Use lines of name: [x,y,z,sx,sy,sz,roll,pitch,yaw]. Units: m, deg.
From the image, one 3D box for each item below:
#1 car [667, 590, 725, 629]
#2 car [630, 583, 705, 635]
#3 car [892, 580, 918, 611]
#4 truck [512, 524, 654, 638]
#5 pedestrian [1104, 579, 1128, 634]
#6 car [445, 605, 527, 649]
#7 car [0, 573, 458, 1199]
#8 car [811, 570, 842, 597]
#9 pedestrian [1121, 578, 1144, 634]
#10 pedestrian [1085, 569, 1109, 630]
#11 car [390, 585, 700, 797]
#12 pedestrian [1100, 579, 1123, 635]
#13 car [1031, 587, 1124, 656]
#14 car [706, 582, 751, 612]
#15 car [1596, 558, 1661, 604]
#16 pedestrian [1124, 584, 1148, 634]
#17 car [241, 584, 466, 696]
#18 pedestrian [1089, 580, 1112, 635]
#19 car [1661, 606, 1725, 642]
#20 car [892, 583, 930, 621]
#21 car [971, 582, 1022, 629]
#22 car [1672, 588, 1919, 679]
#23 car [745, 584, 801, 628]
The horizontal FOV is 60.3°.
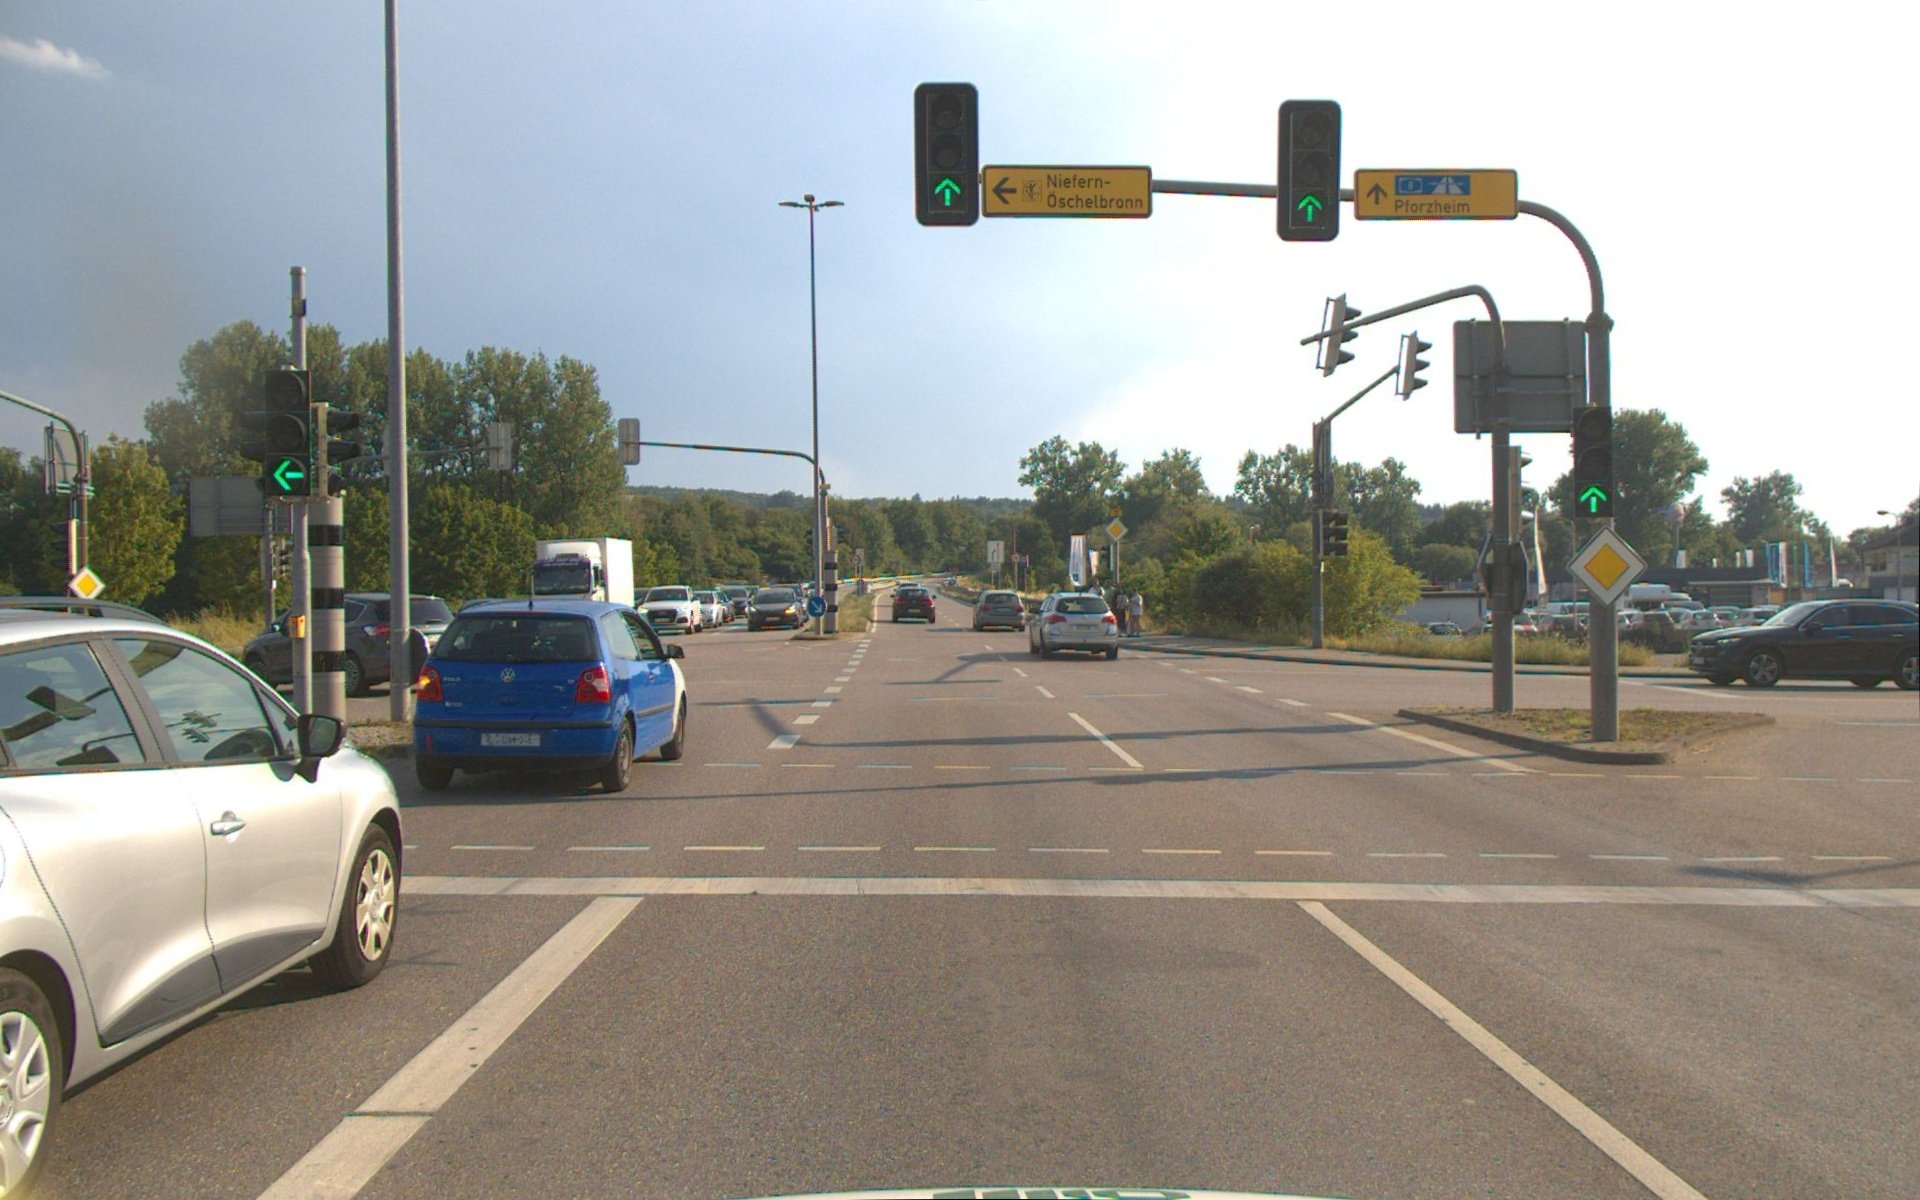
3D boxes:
car: [-10.341,0.370,65.171,1.668,1.430,5.078,-2,0,-3]
car: [-10.216,0.310,58.021,1.954,1.707,4.804,-2,0,-3]
car: [-3.327,-0.239,100.026,1.506,1.825,3.503,1,0,-3]
truck: [-13.753,-0.625,61.317,2.873,3.754,10.496,-3,0,-1]
pedestrian: [4.726,0.205,50.029,0.561,1.643,0.622,-2,0,-7]
car: [-16.707,0.925,58.457,1.777,1.400,3.999,-3,0,-1]
car: [-2.985,0.680,5.013,1.721,1.502,4.188,0,0,-1]
car: [-8.426,-1.024,104.341,1.745,1.546,3.998,-2,0,-2]
pedestrian: [5.304,0.177,50.838,0.561,1.707,0.622,1,-1,-7]
pedestrian: [4.425,-0.015,53.366,0.606,1.916,0.861,-1,0,-3]
car: [-3.320,0.669,13.957,1.652,1.526,3.892,0,0,0]
pedestrian: [4.653,0.206,50.762,0.561,1.707,0.622,1,-1,-7]
car: [2.703,0.480,38.909,1.772,1.512,3.999,1,0,-2]
car: [-11.145,-0.154,79.873,1.745,1.378,3.998,1,0,-2]
car: [39.543,-1.073,97.967,1.719,2.594,5.470,1,0,2]
pedestrian: [5.328,0.266,50.097,0.561,1.482,0.622,1,-1,-7]
car: [-10.227,0.686,27.758,4.085,1.720,1.913,-3,-1,43]
pedestrian: [4.470,0.231,52.599,0.583,1.712,0.633,-3,0,-3]
car: [35.109,1.120,79.312,1.577,1.652,3.348,1,0,0]
car: [-1.974,0.089,67.410,1.462,1.502,3.358,1,0,-1]
car: [1.280,0.192,59.455,1.633,1.601,3.999,1,0,-1]
car: [16.177,0.632,31.534,4.363,1.613,2.000,1,0,2]
car: [-6.690,0.199,59.695,1.755,1.492,4.925,-1,0,-4]
